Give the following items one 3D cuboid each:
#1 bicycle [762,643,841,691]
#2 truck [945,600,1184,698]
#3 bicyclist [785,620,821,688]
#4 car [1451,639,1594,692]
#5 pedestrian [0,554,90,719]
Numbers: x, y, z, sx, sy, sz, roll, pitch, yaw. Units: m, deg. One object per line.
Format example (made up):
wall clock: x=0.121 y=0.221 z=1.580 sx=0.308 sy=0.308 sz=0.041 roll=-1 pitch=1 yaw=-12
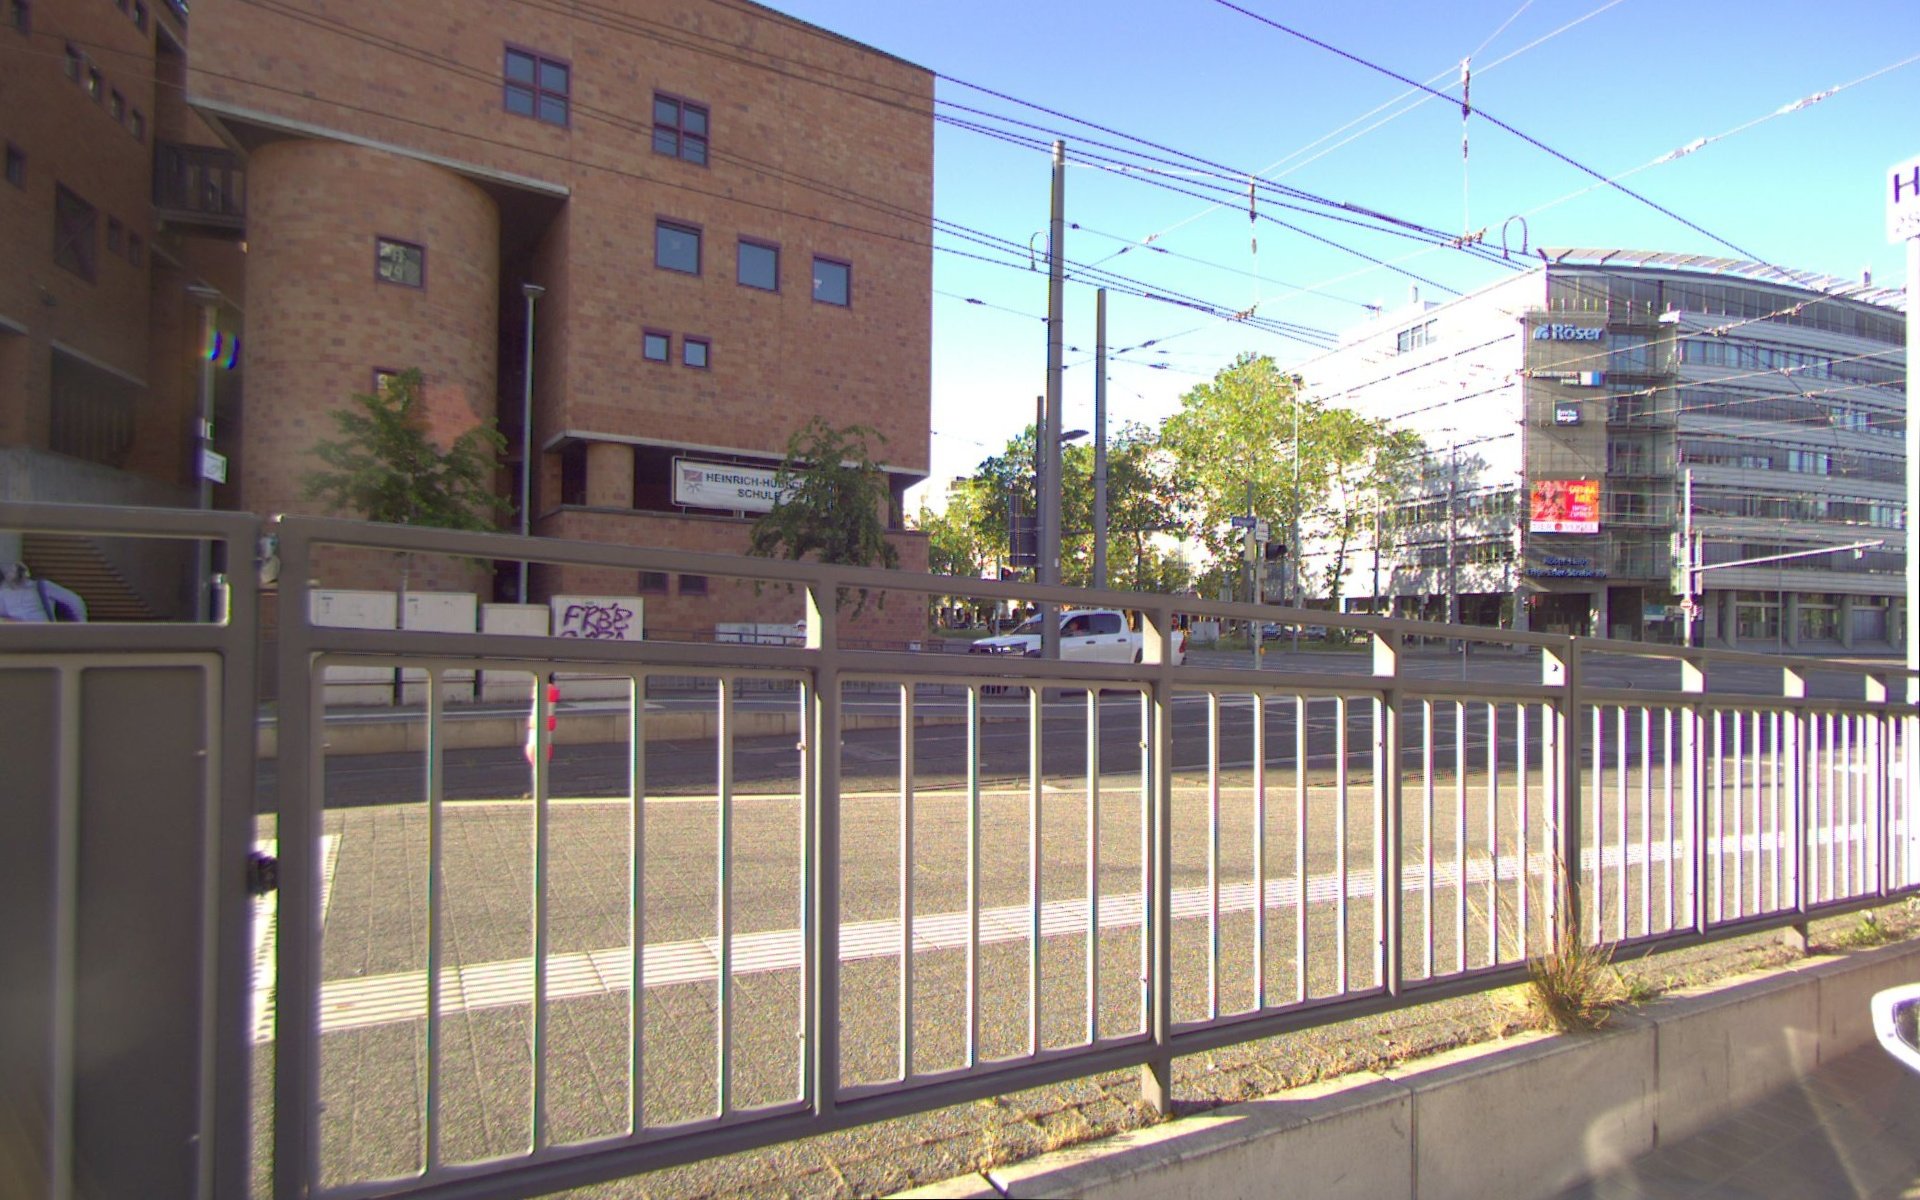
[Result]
bicycle: x=-3.724 y=1.573 z=23.678 sx=1.793 sy=1.104 sz=0.458 roll=2 pitch=-3 yaw=-30
truck: x=2.350 y=1.053 z=21.910 sx=5.101 sy=1.904 sz=1.982 roll=1 pitch=-3 yaw=-34
bicyclist: x=-3.699 y=1.258 z=23.628 sx=0.642 sy=1.554 sz=0.584 roll=2 pitch=0 yaw=-30
car: x=13.635 y=1.559 z=24.408 sx=2.841 sy=1.077 sz=1.238 roll=2 pitch=0 yaw=40
pedestrian: x=-9.663 y=0.372 z=10.543 sx=0.679 sy=1.656 sz=0.662 roll=2 pitch=0 yaw=-34
